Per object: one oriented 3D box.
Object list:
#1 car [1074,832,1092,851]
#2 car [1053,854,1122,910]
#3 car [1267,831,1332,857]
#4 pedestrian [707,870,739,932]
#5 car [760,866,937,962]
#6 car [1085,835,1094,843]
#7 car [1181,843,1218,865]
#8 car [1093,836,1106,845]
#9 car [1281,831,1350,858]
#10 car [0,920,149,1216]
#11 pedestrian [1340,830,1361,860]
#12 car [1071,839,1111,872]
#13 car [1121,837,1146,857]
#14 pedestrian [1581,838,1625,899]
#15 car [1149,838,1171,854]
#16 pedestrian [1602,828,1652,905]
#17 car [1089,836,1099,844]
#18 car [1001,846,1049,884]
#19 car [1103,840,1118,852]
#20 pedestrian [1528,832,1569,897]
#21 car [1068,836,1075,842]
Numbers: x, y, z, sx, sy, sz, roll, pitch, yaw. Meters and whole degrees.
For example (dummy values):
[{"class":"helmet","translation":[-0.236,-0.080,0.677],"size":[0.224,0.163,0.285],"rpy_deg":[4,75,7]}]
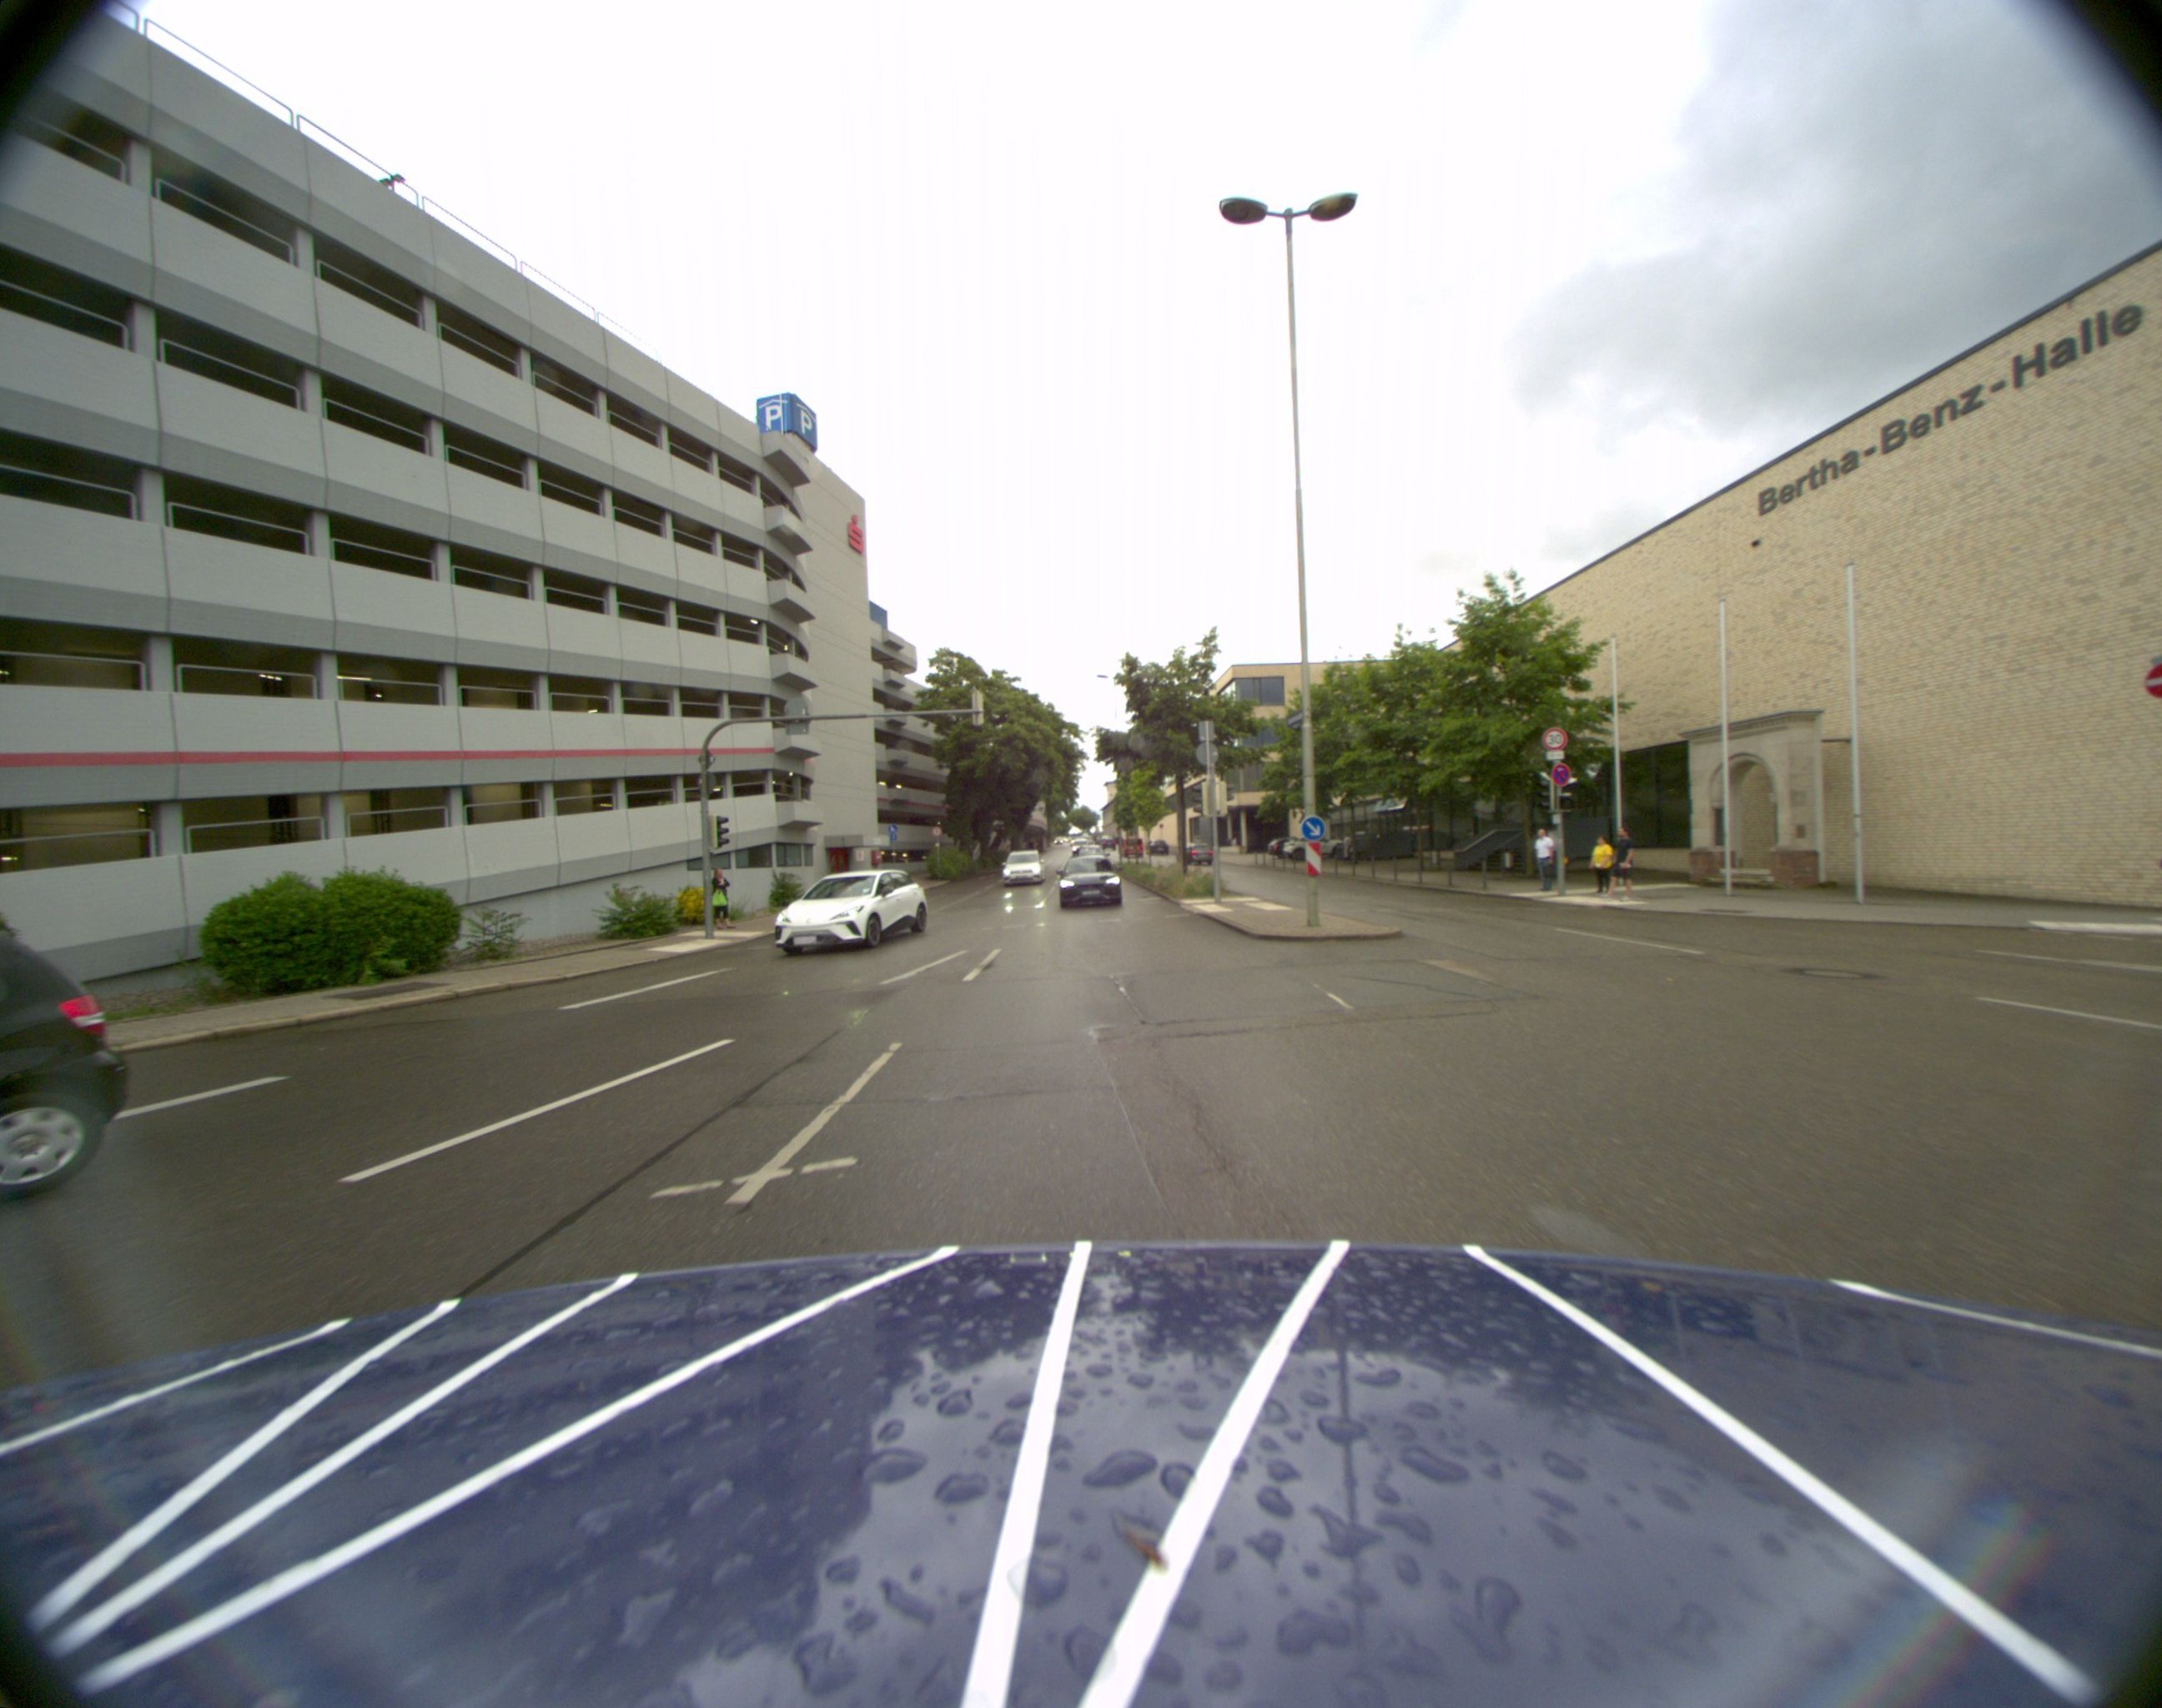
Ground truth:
[{"class":"car","translation":[0.207,-1.308,81.551],"size":[1.805,1.818,3.949],"rpy_deg":[-4,1,1]},{"class":"car","translation":[0.098,0.768,23.346],"size":[1.739,1.380,4.580],"rpy_deg":[-4,1,-4]},{"class":"car","translation":[15.462,-0.721,53.870],"size":[3.996,1.576,2.000],"rpy_deg":[-4,1,3]},{"class":"pedestrian","translation":[-9.940,1.289,21.115],"size":[0.584,1.650,0.519],"rpy_deg":[1,3,17]},{"class":"car","translation":[-4.601,1.130,15.781],"size":[1.804,1.469,4.211],"rpy_deg":[-4,1,8]},{"class":"car","translation":[2.034,-3.609,186.275],"size":[1.855,1.842,4.299],"rpy_deg":[1,1,-3]},{"class":"car","translation":[8.182,-0.013,52.846],"size":[1.676,1.461,4.299],"rpy_deg":[0,1,-3]},{"class":"car","translation":[3.128,-2.312,129.634],"size":[2.028,1.599,4.299],"rpy_deg":[1,1,-3]},{"class":"car","translation":[15.816,-0.663,51.370],"size":[3.996,1.576,2.000],"rpy_deg":[-4,1,3]},{"class":"car","translation":[-6.810,1.241,2.844],"size":[1.675,1.484,3.748],"rpy_deg":[-4,1,14]},{"class":"pedestrian","translation":[15.281,-0.520,43.132],"size":[0.804,1.638,0.976],"rpy_deg":[-4,2,6]},{"class":"car","translation":[0.515,0.042,42.488],"size":[1.846,1.647,3.998],"rpy_deg":[-4,1,-3]},{"class":"car","translation":[4.919,-0.689,71.592],"size":[1.855,1.842,4.299],"rpy_deg":[1,1,-3]},{"class":"pedestrian","translation":[13.416,0.353,19.548],"size":[0.595,1.508,0.692],"rpy_deg":[-4,2,-2]},{"class":"car","translation":[8.109,-0.861,78.281],"size":[1.676,1.599,4.299],"rpy_deg":[1,1,-3]},{"class":"pedestrian","translation":[12.945,0.286,18.024],"size":[0.595,1.761,0.692],"rpy_deg":[-4,2,-2]},{"class":"car","translation":[2.755,-2.947,160.553],"size":[1.855,1.842,4.299],"rpy_deg":[1,1,-3]},{"class":"car","translation":[-2.670,0.505,37.196],"size":[1.999,1.716,4.399],"rpy_deg":[-2,0,-1]},{"class":"car","translation":[3.978,-1.110,102.096],"size":[1.676,1.599,4.299],"rpy_deg":[1,1,-3]},{"class":"pedestrian","translation":[12.838,0.291,20.876],"size":[0.596,1.721,0.691],"rpy_deg":[-4,2,-5]},{"class":"car","translation":[-2.873,-4.476,223.976],"size":[1.999,1.716,4.399],"rpy_deg":[-2,0,-1]}]
